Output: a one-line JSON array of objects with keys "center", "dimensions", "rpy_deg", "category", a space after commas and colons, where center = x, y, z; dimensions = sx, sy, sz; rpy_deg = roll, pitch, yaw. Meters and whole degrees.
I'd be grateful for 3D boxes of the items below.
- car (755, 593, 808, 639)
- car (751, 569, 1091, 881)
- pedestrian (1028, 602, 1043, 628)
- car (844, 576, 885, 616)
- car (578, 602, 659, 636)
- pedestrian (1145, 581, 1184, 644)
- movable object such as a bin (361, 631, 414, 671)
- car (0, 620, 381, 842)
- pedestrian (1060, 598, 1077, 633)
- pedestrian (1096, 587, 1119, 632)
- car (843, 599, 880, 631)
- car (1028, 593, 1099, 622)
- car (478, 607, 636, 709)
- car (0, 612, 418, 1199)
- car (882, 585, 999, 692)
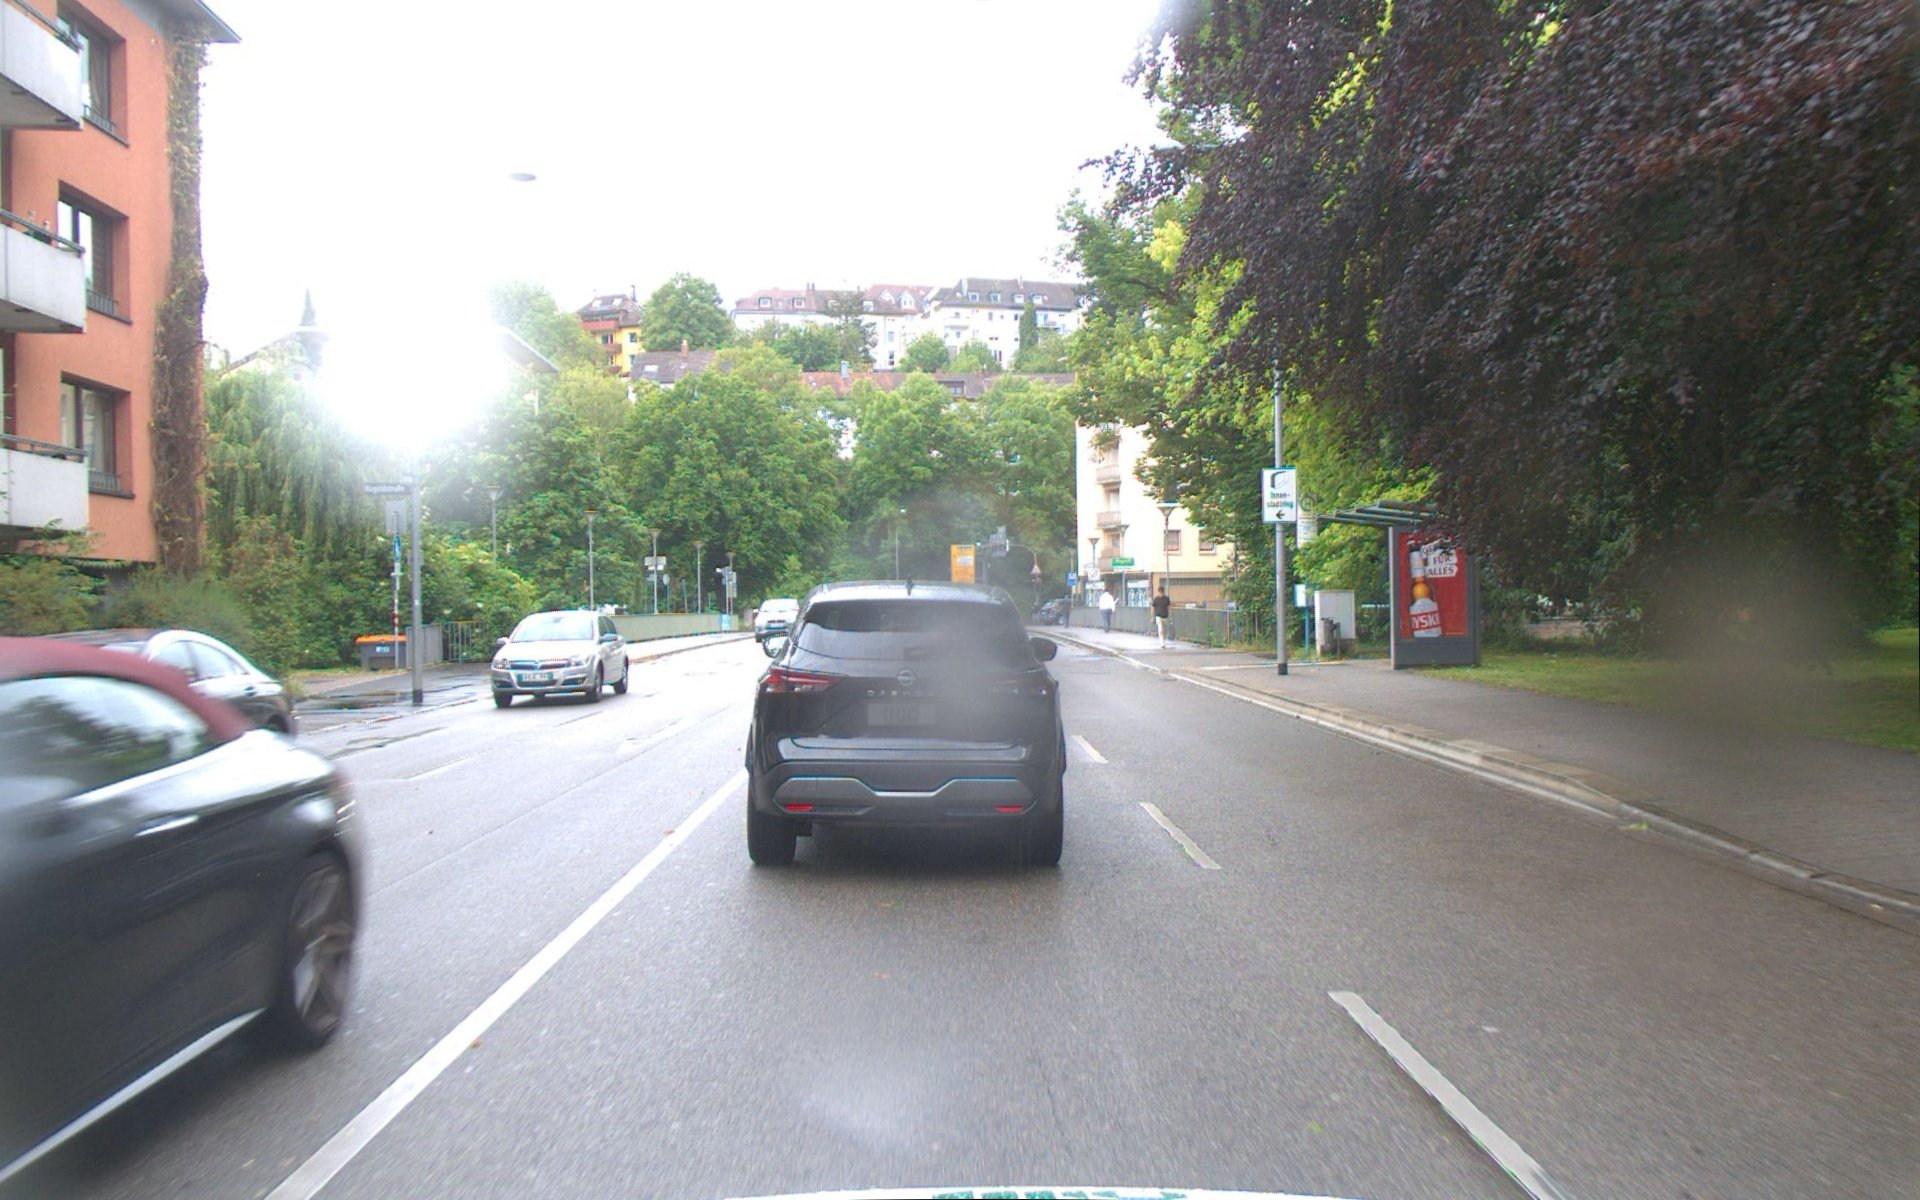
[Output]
[{"center": [-6.842, 0.588, 63.792], "dimensions": [1.777, 1.606, 4.229], "rpy_deg": [-2, 1, -3], "category": "car"}, {"center": [-0.241, 0.649, 10.652], "dimensions": [1.774, 1.631, 3.999], "rpy_deg": [0, 0, -1], "category": "car"}, {"center": [4.982, 0.978, 109.149], "dimensions": [0.845, 1.647, 0.839], "rpy_deg": [-2, -1, -1], "category": "pedestrian"}, {"center": [-5.860, -0.286, 102.703], "dimensions": [2.243, 2.349, 6.507], "rpy_deg": [-2, 1, -1], "category": "car"}, {"center": [-20.395, 1.118, 98.966], "dimensions": [4.655, 1.886, 1.996], "rpy_deg": [-1, 1, -10], "category": "car"}, {"center": [5.763, 0.359, 46.695], "dimensions": [0.830, 1.705, 1.167], "rpy_deg": [-3, -1, -2], "category": "pedestrian"}, {"center": [-13.273, 1.182, 38.362], "dimensions": [0.946, 0.892, 0.832], "rpy_deg": [-2, -1, -1], "category": "movable object such as a bin"}, {"center": [-6.641, 0.972, 14.139], "dimensions": [1.776, 1.440, 4.681], "rpy_deg": [-2, 1, -1], "category": "car"}, {"center": [5.438, 0.752, 82.940], "dimensions": [0.745, 1.706, 0.781], "rpy_deg": [-3, 0, -1], "category": "pedestrian"}, {"center": [5.973, 0.385, 67.014], "dimensions": [0.764, 1.783, 1.060], "rpy_deg": [-1, -1, -2], "category": "pedestrian"}, {"center": [-5.004, 0.731, 83.993], "dimensions": [1.746, 1.499, 4.164], "rpy_deg": [-2, 1, -3], "category": "car"}, {"center": [6.833, 0.501, 109.422], "dimensions": [4.315, 1.678, 1.867], "rpy_deg": [-2, -1, -27], "category": "car"}, {"center": [-6.627, 0.903, 27.583], "dimensions": [1.777, 1.440, 4.046], "rpy_deg": [-2, 1, -3], "category": "car"}, {"center": [-2.942, 0.821, 4.175], "dimensions": [1.757, 1.440, 4.334], "rpy_deg": [-2, 1, -1], "category": "car"}, {"center": [-0.340, 0.583, 27.282], "dimensions": [1.774, 1.631, 3.999], "rpy_deg": [1, 0, -1], "category": "car"}]
